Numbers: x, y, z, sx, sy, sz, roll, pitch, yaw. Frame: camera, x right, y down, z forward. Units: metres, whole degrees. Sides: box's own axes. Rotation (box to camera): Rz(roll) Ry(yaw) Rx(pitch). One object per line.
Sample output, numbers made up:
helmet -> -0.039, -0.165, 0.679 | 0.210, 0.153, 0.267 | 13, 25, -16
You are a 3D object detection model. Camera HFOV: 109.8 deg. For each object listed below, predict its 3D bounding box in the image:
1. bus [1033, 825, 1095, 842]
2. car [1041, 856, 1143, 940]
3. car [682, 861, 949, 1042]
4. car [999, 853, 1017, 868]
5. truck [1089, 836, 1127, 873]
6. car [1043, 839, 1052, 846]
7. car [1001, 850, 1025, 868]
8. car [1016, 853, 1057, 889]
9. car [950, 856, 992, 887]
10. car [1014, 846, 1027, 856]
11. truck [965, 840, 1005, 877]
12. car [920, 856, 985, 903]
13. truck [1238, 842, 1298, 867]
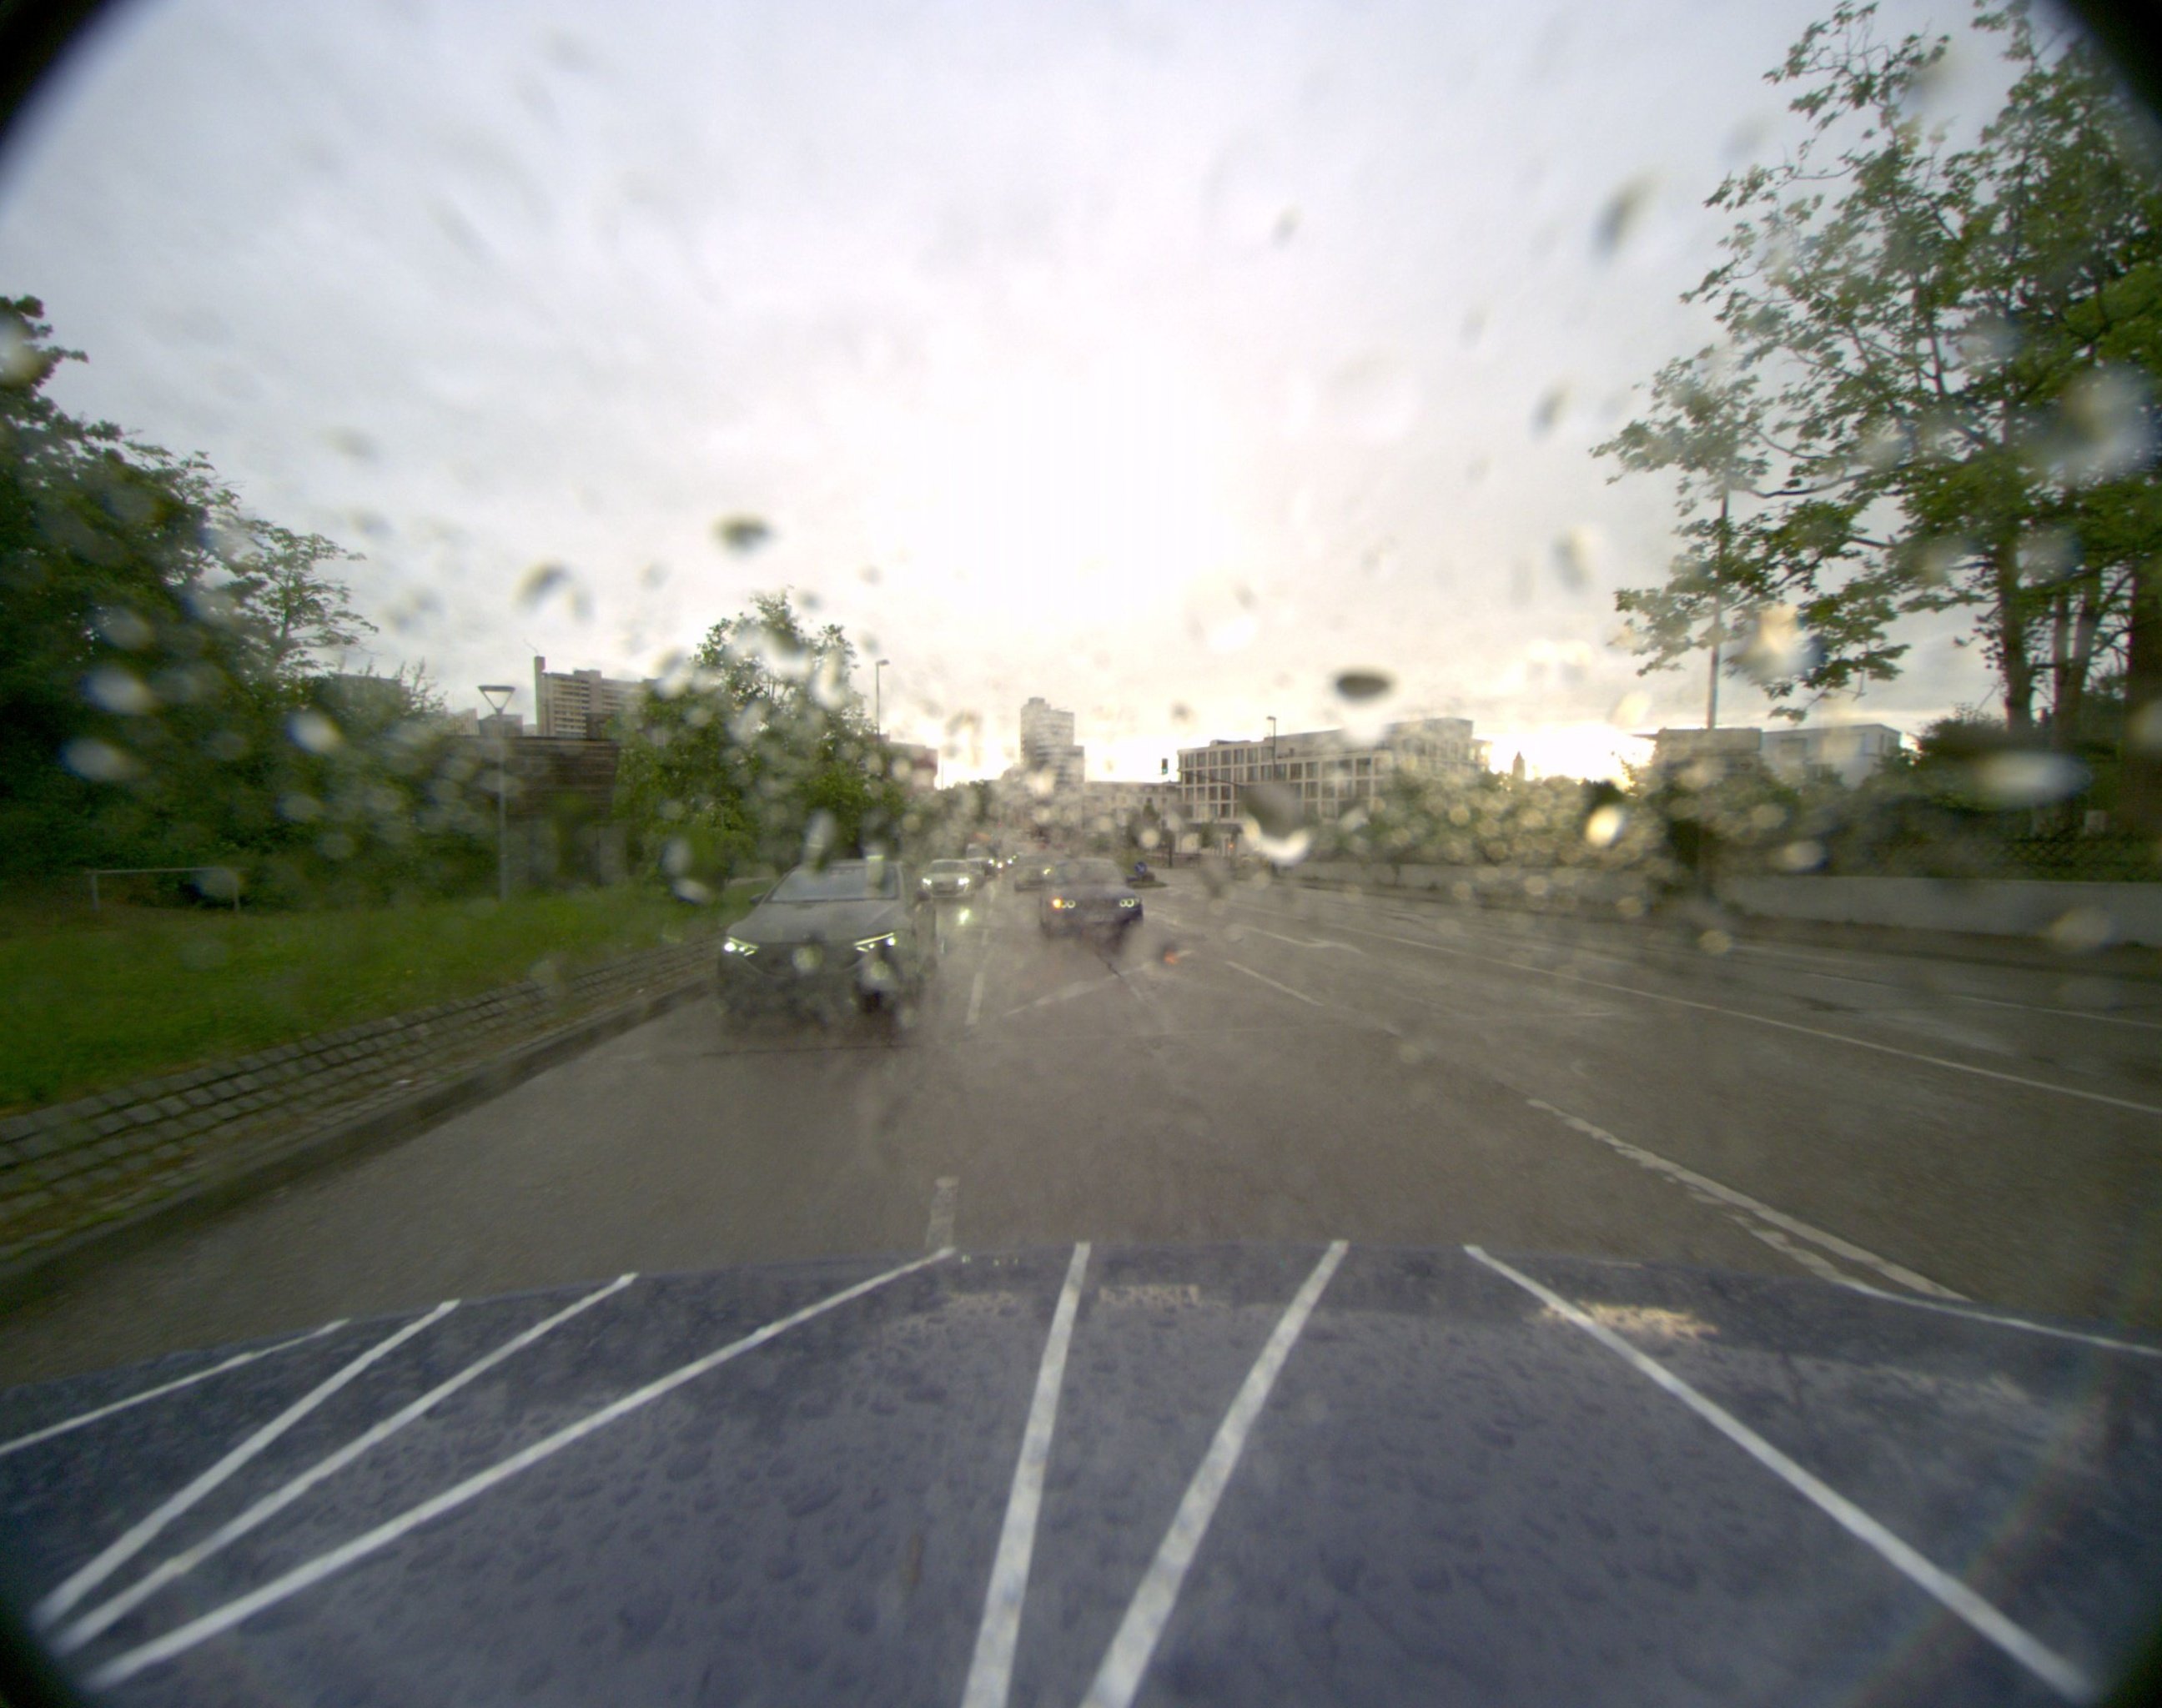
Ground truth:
bus -> -4.296, -4.953, 180.256 | 2.959, 3.973, 18.171 | -1, 2, -45
car -> 0.130, 0.792, 15.298 | 1.787, 1.335, 3.703 | -1, 2, -2
car -> -2.819, 0.919, 9.262 | 1.836, 1.436, 4.548 | -2, 1, -3
car -> -8.276, 0.707, 86.281 | 1.999, 1.543, 3.998 | -1, 0, -5
truck -> 1.801, -0.047, 53.265 | 2.169, 2.426, 6.196 | -1, 2, -2
car -> -7.543, -2.576, 170.531 | 1.999, 1.406, 4.428 | -1, 2, -3
car -> -6.125, 0.456, 68.582 | 1.999, 1.543, 3.998 | -1, 1, -5
car -> -2.019, 0.739, 34.908 | 1.718, 1.369, 3.733 | -2, 2, -2
car -> -5.619, 0.864, 39.137 | 1.718, 1.369, 3.733 | -2, 2, -2
car -> -10.083, -0.500, 126.417 | 1.999, 1.543, 3.998 | -1, 0, -5
truck -> -6.712, 0.242, 53.869 | 2.169, 2.426, 6.196 | -1, 2, -2
car -> -4.513, 0.858, 27.265 | 1.718, 1.389, 4.034 | -2, 2, -2
truck -> 19.590, 0.037, 79.558 | 6.185, 2.524, 2.222 | 1, 2, -29
